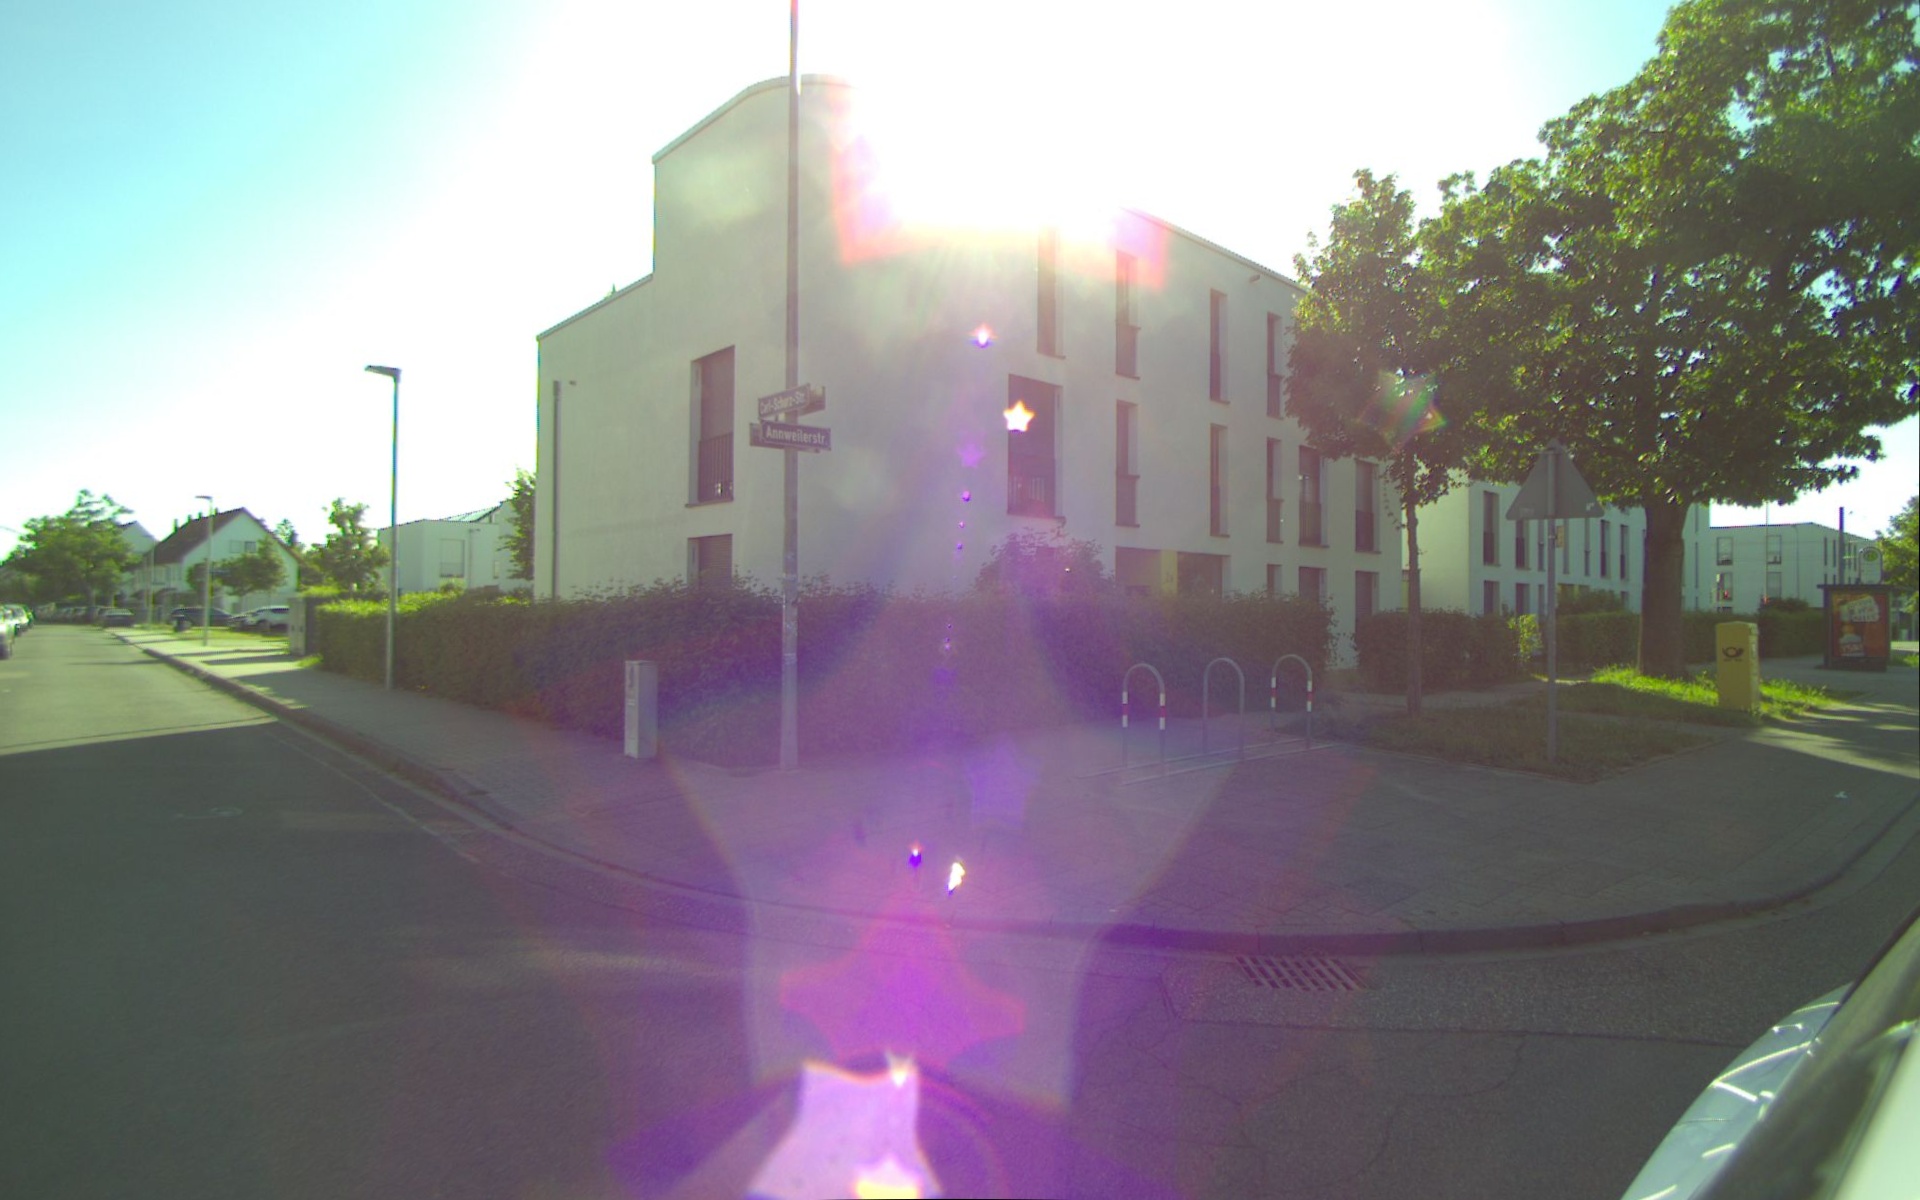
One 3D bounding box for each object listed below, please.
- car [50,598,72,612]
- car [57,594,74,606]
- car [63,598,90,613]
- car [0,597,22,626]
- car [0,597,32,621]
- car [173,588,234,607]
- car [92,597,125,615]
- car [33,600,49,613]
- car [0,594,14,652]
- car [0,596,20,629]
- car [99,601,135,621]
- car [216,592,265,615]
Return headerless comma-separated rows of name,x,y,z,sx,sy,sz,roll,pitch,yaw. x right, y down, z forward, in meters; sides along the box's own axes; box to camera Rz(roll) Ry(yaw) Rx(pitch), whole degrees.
car,-90.012,0.470,101.302,1.633,1.370,3.230,1,0,-42
car,-103.736,-0.001,117.385,1.394,1.370,2.866,1,-1,-43
car,-82.624,0.496,94.653,1.805,1.370,3.718,1,0,-42
car,-56.830,0.664,59.894,1.880,1.623,3.718,1,0,-42
car,-66.509,0.641,71.114,1.880,1.623,3.718,1,0,-42
car,-58.254,-0.188,77.976,3.660,1.370,1.692,0,0,-41
car,-67.804,0.458,80.598,1.880,1.370,3.718,1,0,-42
car,-100.737,0.702,110.928,1.316,1.370,2.707,1,-1,-42
car,-28.633,0.652,29.187,1.880,1.623,3.718,1,0,-42
car,-48.440,0.626,50.699,1.880,1.623,3.718,1,0,-42
car,-60.935,0.798,73.125,1.880,1.370,3.718,1,0,-42
car,-61.342,0.307,86.271,3.281,1.916,1.749,1,-1,-41
